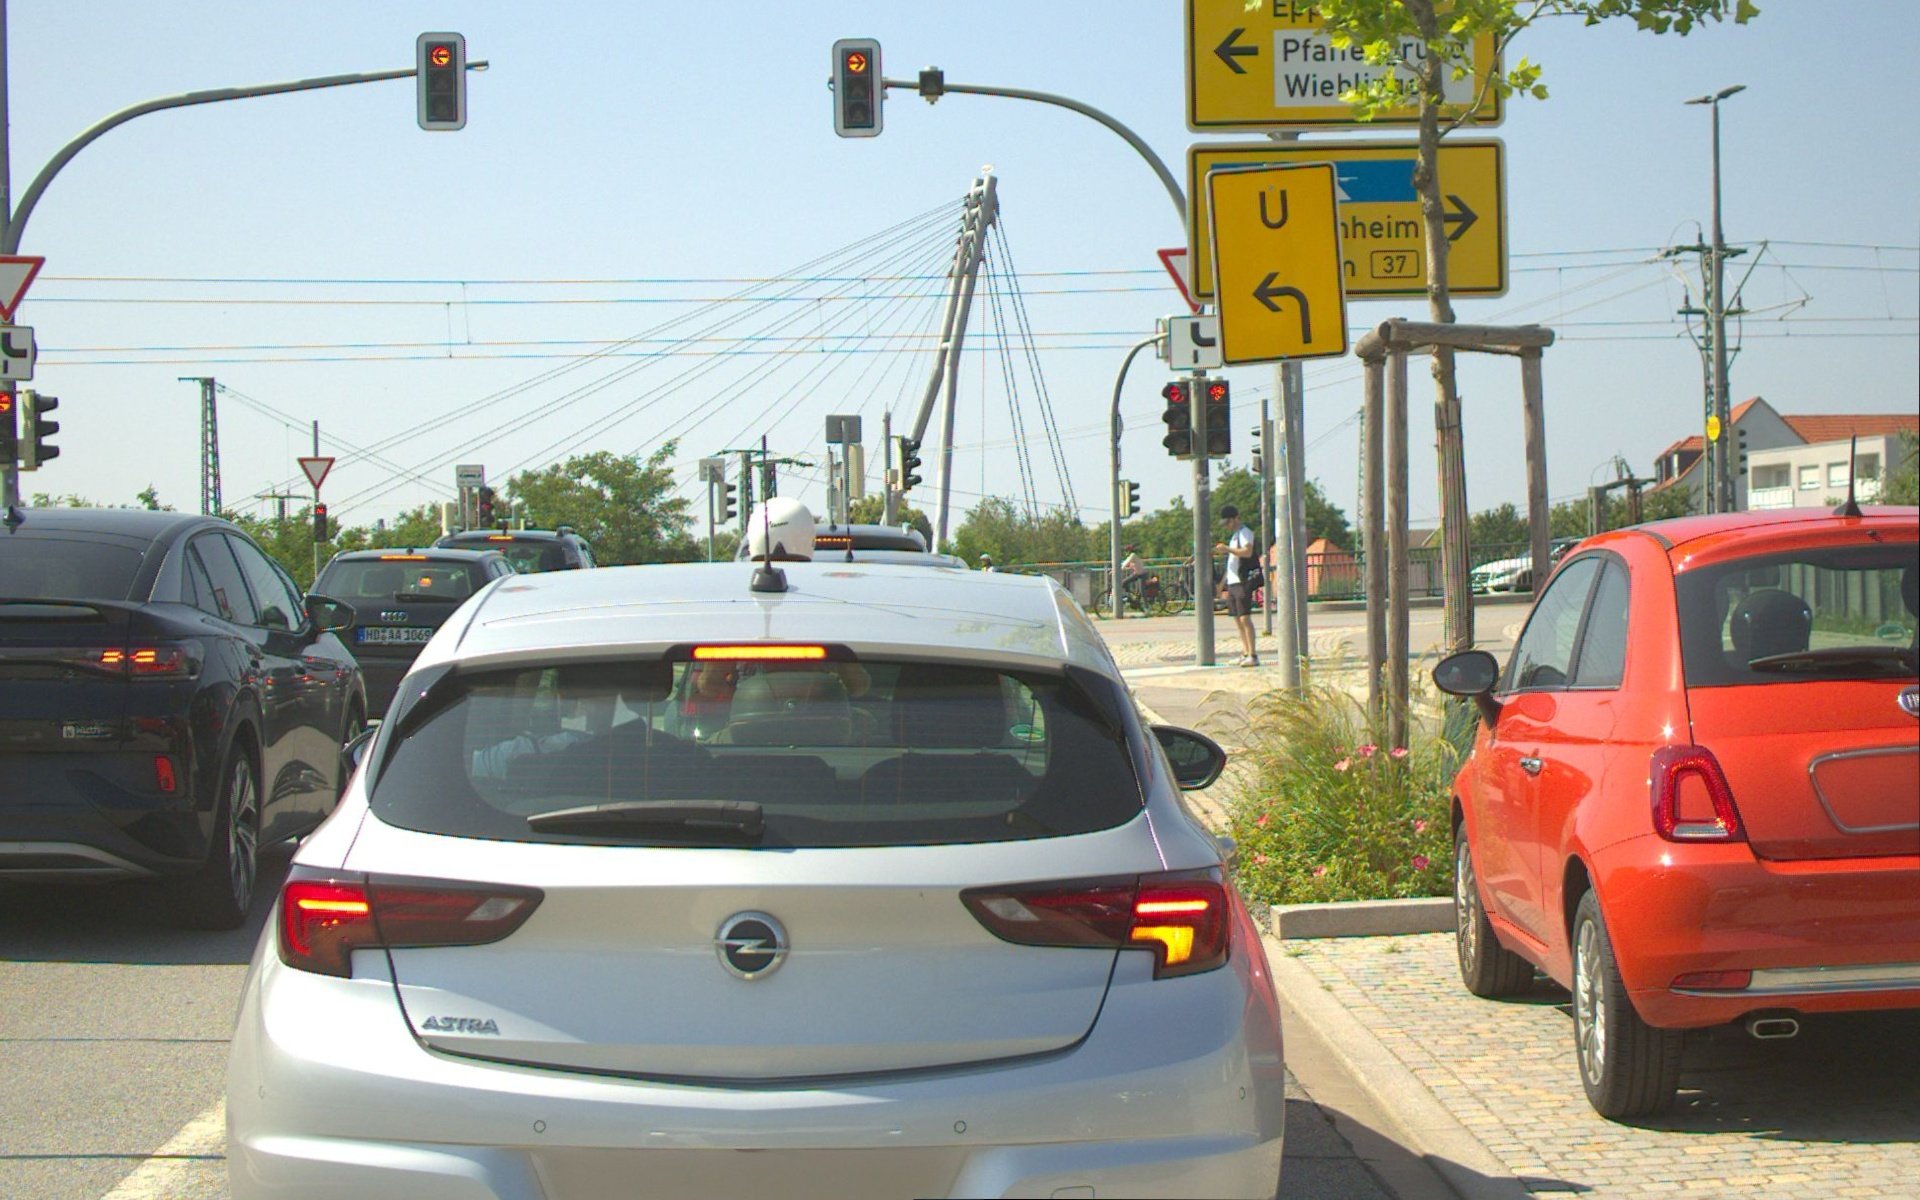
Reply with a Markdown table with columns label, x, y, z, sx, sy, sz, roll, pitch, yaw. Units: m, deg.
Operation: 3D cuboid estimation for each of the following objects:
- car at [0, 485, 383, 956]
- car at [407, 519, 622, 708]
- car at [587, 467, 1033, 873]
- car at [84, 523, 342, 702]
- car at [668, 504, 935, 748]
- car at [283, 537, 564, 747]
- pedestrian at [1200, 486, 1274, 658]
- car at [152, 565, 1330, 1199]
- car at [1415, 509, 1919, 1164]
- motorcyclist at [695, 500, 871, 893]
| label | x | y | z | sx | sy | sz | roll | pitch | yaw |
| --- | --- | --- | --- | --- | --- | --- | --- | --- | --- |
| car | -3.632 | 0.392 | 14.195 | 1.801 | 1.636 | 4.366 | 1 | 1 | -1 |
| car | -4.034 | 0.096 | 31.618 | 1.649 | 1.610 | 3.821 | 1 | 1 | -3 |
| car | -0.704 | 0.260 | 17.760 | 1.993 | 1.814 | 4.402 | 1 | 2 | -1 |
| car | -6.859 | 0.089 | 31.894 | 1.597 | 1.542 | 3.762 | 1 | 1 | -1 |
| car | -1.048 | 0.114 | 24.412 | 1.724 | 1.558 | 4.000 | 1 | 2 | 0 |
| car | -3.922 | 0.272 | 25.627 | 1.575 | 1.429 | 3.786 | 1 | 1 | -1 |
| pedestrian | 3.011 | -0.303 | 37.417 | 0.647 | 1.830 | 0.798 | -2 | 0 | -2 |
| car | -0.432 | 0.677 | 7.132 | 1.742 | 1.473 | 4.001 | 1 | 1 | -3 |
| car | 2.328 | 0.514 | 9.747 | 1.610 | 1.491 | 3.352 | -2 | 1 | 1 |
| motorcyclist | -0.650 | 0.338 | 12.480 | 0.581 | 1.384 | 0.707 | 1 | 0 | -6 |
